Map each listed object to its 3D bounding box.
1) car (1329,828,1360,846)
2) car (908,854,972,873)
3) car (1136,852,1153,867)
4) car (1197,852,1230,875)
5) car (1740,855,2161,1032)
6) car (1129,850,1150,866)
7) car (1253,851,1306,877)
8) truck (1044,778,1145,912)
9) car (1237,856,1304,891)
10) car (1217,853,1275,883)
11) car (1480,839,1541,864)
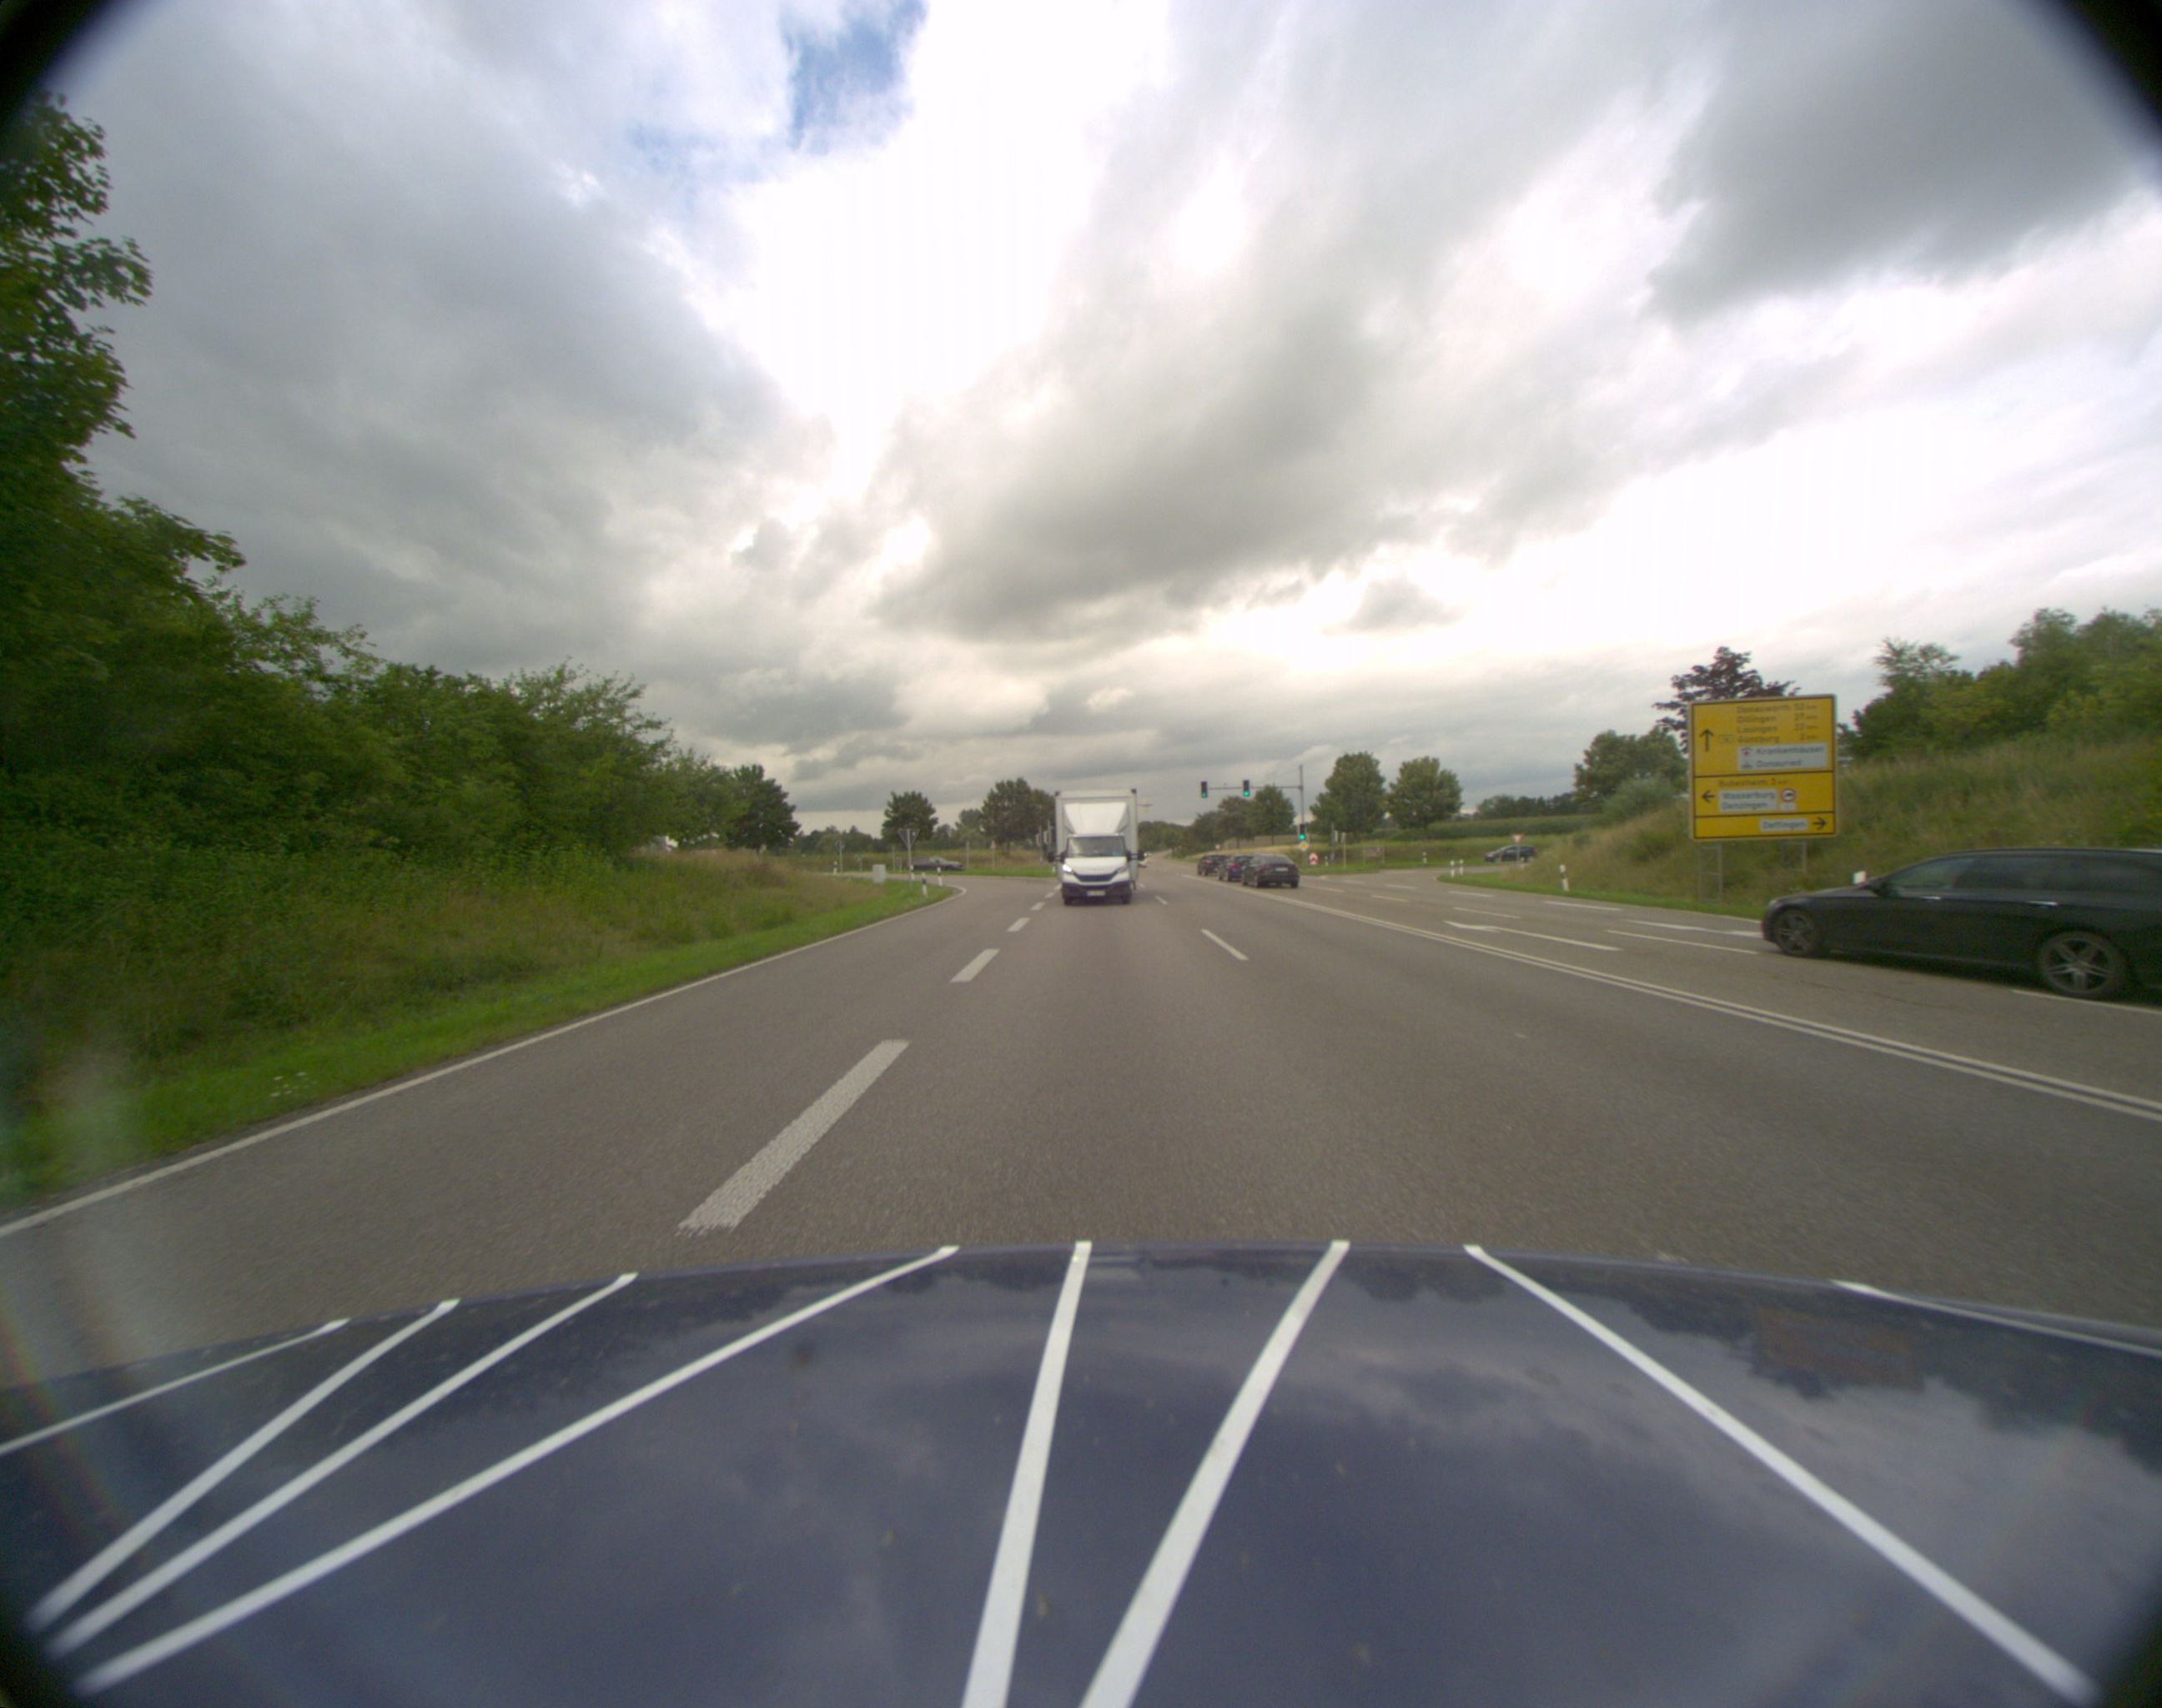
[{"bbox_3d":[31.798,-2.035,91.739,1.999,2.002,3.998,-3,0,-5],"label":"car"},{"bbox_3d":[-11.495,0.758,62.136,4.660,1.494,2.001,-1,0,10],"label":"car"},{"bbox_3d":[8.584,0.740,103.214,2.168,2.002,4.681,-1,0,4],"label":"car"},{"bbox_3d":[8.748,0.608,50.433,1.730,1.435,3.944,-1,0,3],"label":"car"},{"bbox_3d":[10.496,0.788,8.500,1.998,1.485,4.993,-1,0,1],"label":"car"},{"bbox_3d":[6.312,0.427,82.497,1.998,1.555,4.749,-2,0,2],"label":"car"},{"bbox_3d":[12.488,0.563,48.202,2.050,1.526,5.126,-1,0,0],"label":"car"},{"bbox_3d":[0.533,-0.287,25.863,2.837,3.742,8.800,0,1,2],"label":"truck"},{"bbox_3d":[8.187,0.789,33.190,1.770,1.375,4.543,-1,0,0],"label":"car"},{"bbox_3d":[8.499,0.666,39.590,2.053,1.475,4.881,0,0,1],"label":"car"},{"bbox_3d":[35.978,-0.184,63.766,3.996,2.002,2.000,-1,1,2],"label":"car"}]
